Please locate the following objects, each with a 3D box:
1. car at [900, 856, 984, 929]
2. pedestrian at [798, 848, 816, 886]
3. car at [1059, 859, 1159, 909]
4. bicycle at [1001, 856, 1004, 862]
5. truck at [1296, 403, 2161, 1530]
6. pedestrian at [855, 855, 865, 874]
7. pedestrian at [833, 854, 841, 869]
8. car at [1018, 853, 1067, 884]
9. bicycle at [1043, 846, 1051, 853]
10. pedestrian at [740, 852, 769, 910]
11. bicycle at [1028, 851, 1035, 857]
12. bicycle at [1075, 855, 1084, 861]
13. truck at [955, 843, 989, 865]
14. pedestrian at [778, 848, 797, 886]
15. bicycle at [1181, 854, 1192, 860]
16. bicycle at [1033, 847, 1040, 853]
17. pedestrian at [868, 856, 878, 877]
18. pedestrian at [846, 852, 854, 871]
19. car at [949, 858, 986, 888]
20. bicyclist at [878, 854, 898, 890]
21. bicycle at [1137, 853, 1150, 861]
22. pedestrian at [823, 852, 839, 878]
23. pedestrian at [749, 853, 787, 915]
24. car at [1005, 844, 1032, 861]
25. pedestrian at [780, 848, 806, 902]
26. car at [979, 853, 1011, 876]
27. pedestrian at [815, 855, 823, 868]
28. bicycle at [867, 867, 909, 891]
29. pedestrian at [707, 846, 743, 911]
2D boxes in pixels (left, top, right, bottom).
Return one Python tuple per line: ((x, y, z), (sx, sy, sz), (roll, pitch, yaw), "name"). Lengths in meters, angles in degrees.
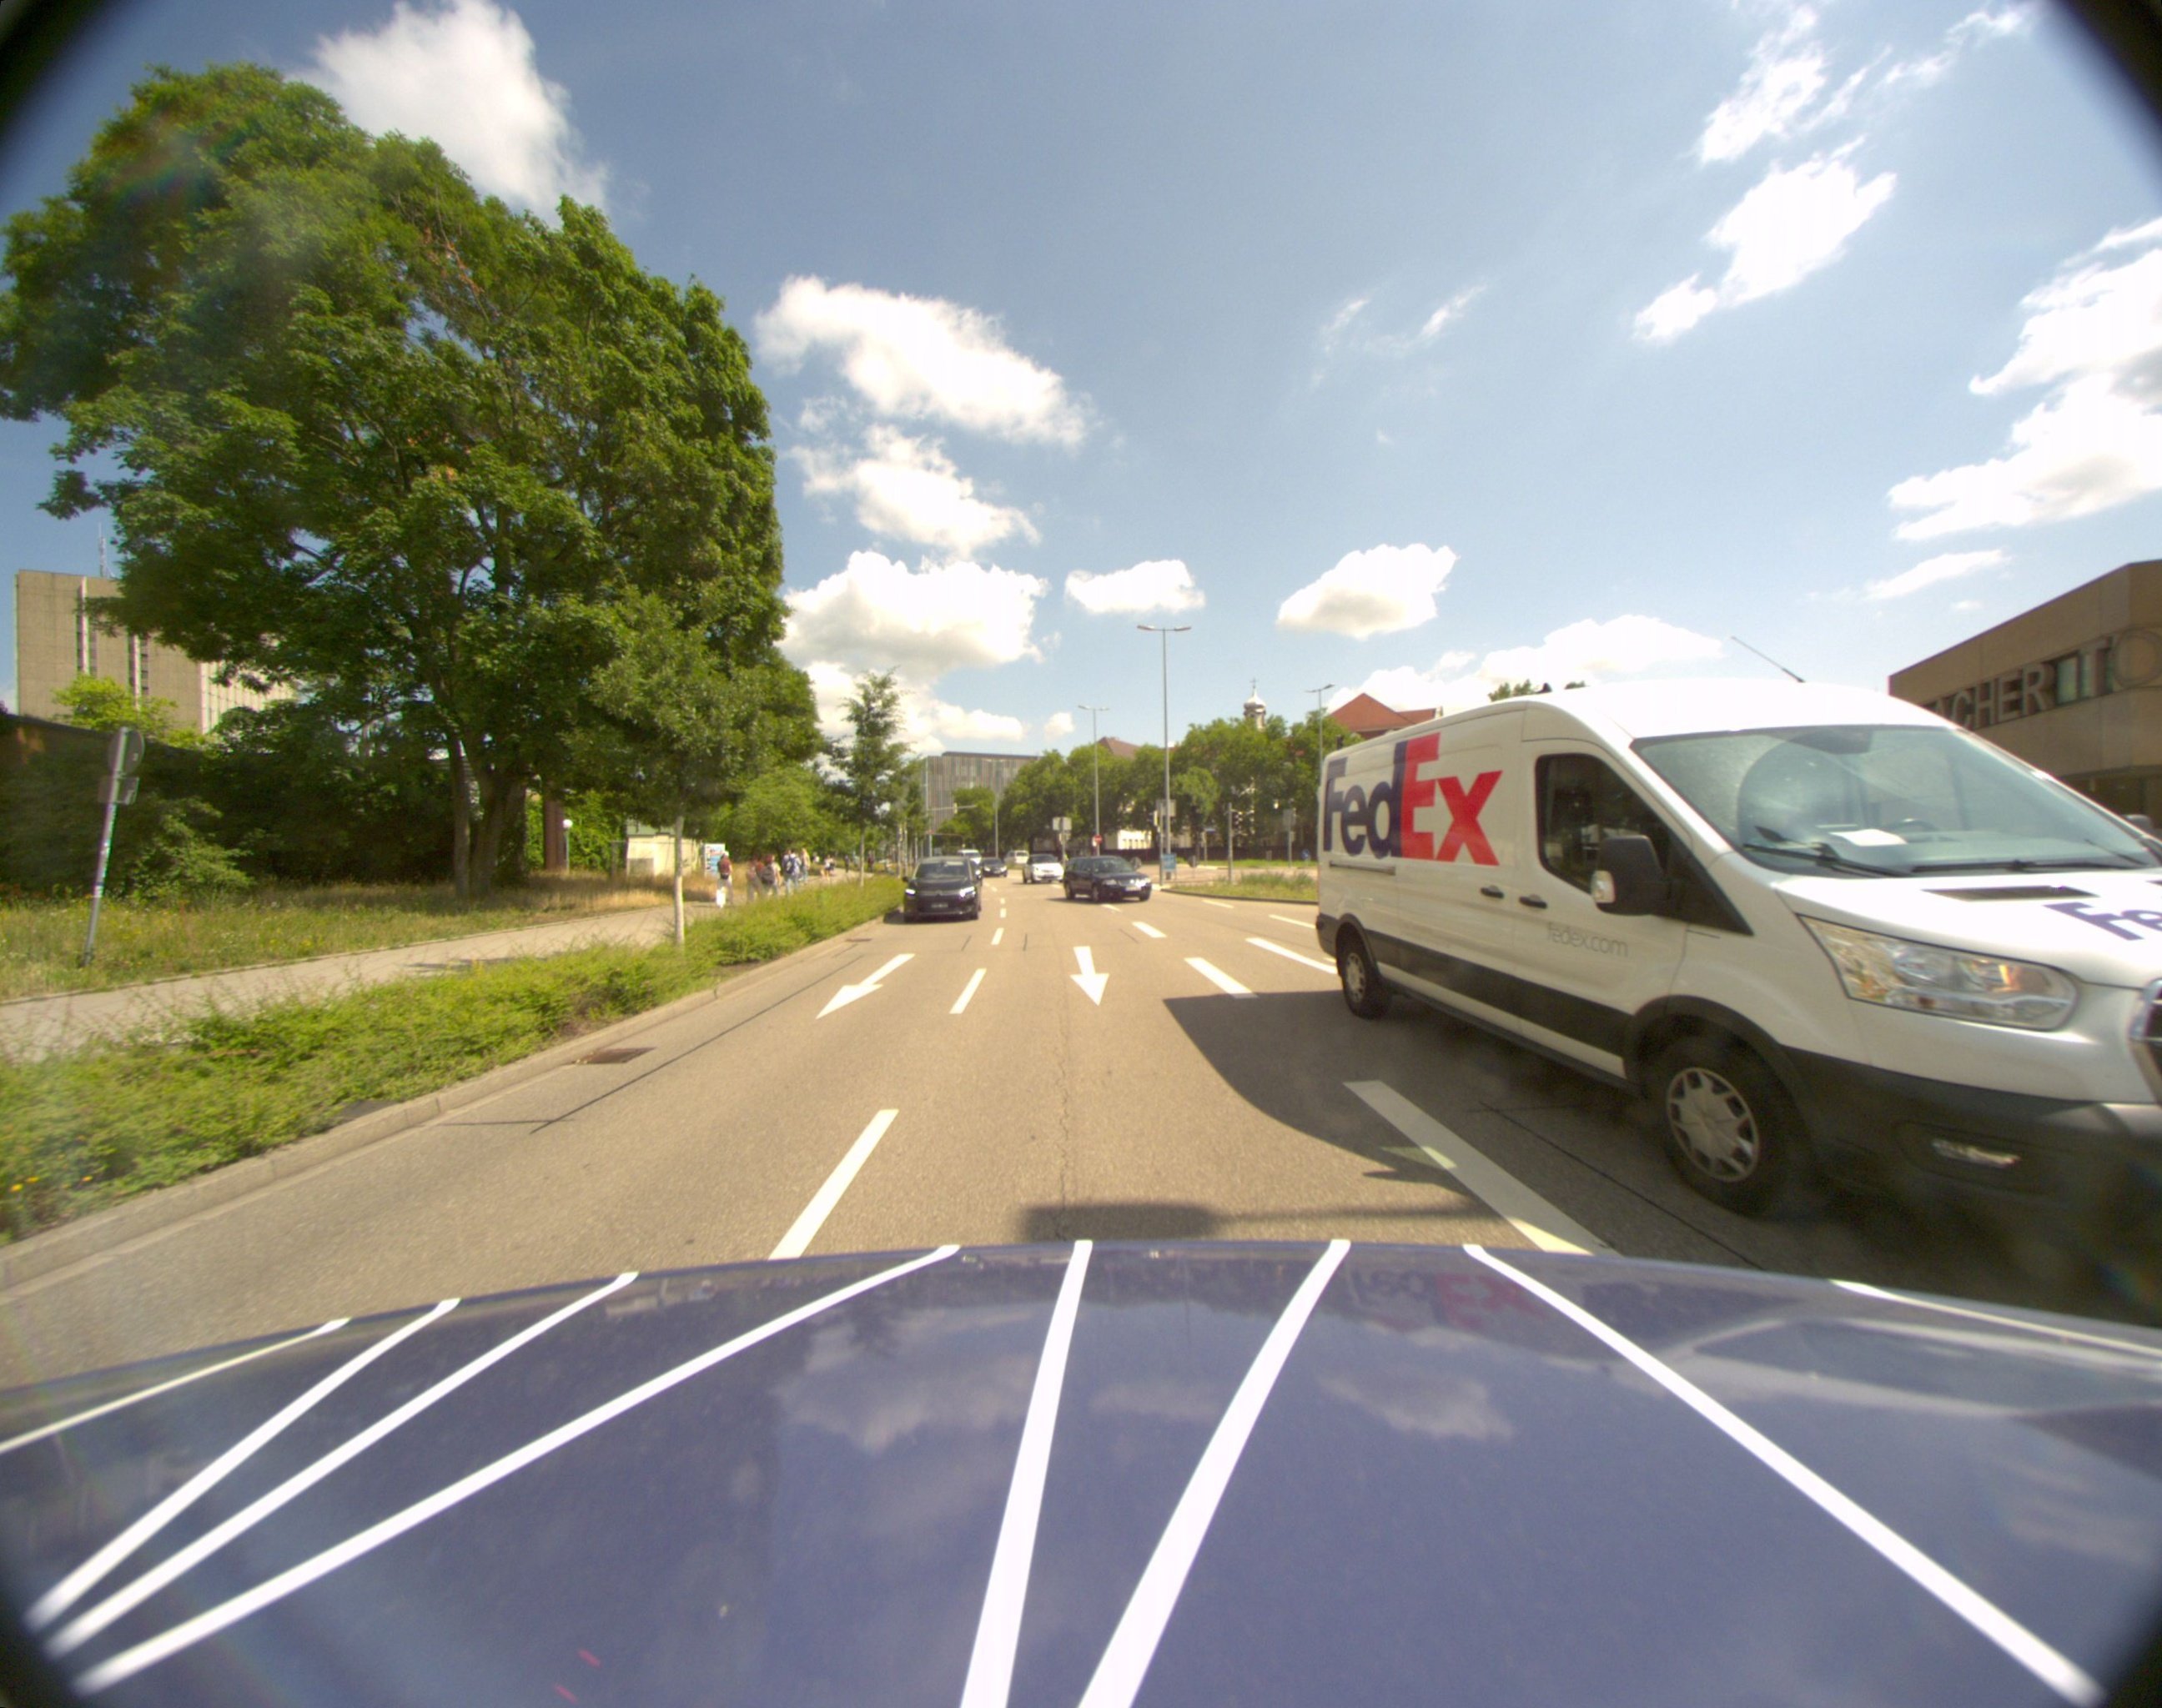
((-3.570, 0.908, 20.209), (1.864, 1.613, 4.517), (-2, 1, -7), "car")
((-13.012, 0.612, 36.106), (0.752, 1.792, 0.609), (0, 0, -16), "pedestrian")
((0.793, 0.900, 24.802), (1.754, 1.426, 4.513), (-1, 0, -18), "car")
((-14.397, 0.920, 139.477), (0.382, 1.101, 1.670), (-1, 0, -1), "bicycle")
((3.423, 0.216, 4.771), (2.143, 2.624, 5.915), (-2, 1, -3), "truck")
((-21.130, 0.987, 72.694), (0.753, 1.767, 0.880), (0, 0, -28), "pedestrian")
((-27.660, 0.834, 86.178), (0.752, 1.739, 0.666), (0, 0, -23), "pedestrian")
((-2.148, 0.752, 41.571), (1.753, 1.496, 4.514), (-3, 1, -14), "car")
((-5.742, -0.742, 126.853), (0.399, 1.037, 1.757), (-1, 1, -36), "bicycle")
((-9.455, 0.757, 21.997), (0.589, 1.617, 0.727), (-2, 2, -14), "pedestrian")
((-8.494, -0.012, 130.936), (0.383, 1.037, 1.666), (-1, 1, -35), "bicycle")
((-0.175, 0.638, 119.519), (0.399, 1.037, 1.635), (-2, 1, -42), "bicycle")
((-12.448, -0.002, 86.258), (2.466, 2.287, 5.805), (-3, 1, -21), "truck")
((-13.703, 0.604, 35.525), (0.752, 1.742, 0.609), (0, 0, -16), "pedestrian")
((14.536, 0.417, 104.558), (1.462, 0.784, 0.399), (-1, 1, 41), "bicycle")
((-7.564, -0.632, 129.445), (0.383, 1.037, 1.666), (-1, 1, -35), "bicycle")
((-17.593, 1.071, 64.332), (0.669, 1.739, 0.846), (0, 0, -23), "pedestrian")
((-21.922, 0.726, 72.092), (0.669, 1.736, 0.608), (0, 0, -28), "pedestrian")
((-6.120, 0.978, 40.622), (1.767, 1.409, 4.359), (-3, 1, -10), "car")
((-8.851, 0.827, 34.767), (0.831, 1.592, 0.579), (2, 1, -15), "bicyclist")
((8.998, 0.487, 109.676), (2.033, 1.130, 0.399), (-1, 1, 44), "bicycle")
((-15.212, 0.654, 46.155), (0.753, 1.587, 0.879), (0, 0, -30), "pedestrian")
((-8.414, 0.788, 20.456), (0.652, 1.617, 0.774), (2, 1, 1), "pedestrian")
((-7.440, -0.148, 90.500), (1.889, 1.883, 4.861), (-1, 0, -21), "car")
((-9.875, 0.705, 26.036), (0.759, 1.810, 0.779), (2, 0, -20), "pedestrian")
((-6.438, 0.748, 56.493), (1.753, 1.496, 4.514), (-3, 1, -14), "car")
((-36.255, 0.968, 105.171), (0.846, 1.755, 0.840), (-3, 2, -23), "pedestrian")
((-8.836, 1.125, 34.783), (1.816, 1.044, 0.591), (2, 1, -15), "bicycle")
((-10.254, 0.693, 21.903), (0.758, 1.811, 0.637), (-2, 2, -14), "pedestrian")
